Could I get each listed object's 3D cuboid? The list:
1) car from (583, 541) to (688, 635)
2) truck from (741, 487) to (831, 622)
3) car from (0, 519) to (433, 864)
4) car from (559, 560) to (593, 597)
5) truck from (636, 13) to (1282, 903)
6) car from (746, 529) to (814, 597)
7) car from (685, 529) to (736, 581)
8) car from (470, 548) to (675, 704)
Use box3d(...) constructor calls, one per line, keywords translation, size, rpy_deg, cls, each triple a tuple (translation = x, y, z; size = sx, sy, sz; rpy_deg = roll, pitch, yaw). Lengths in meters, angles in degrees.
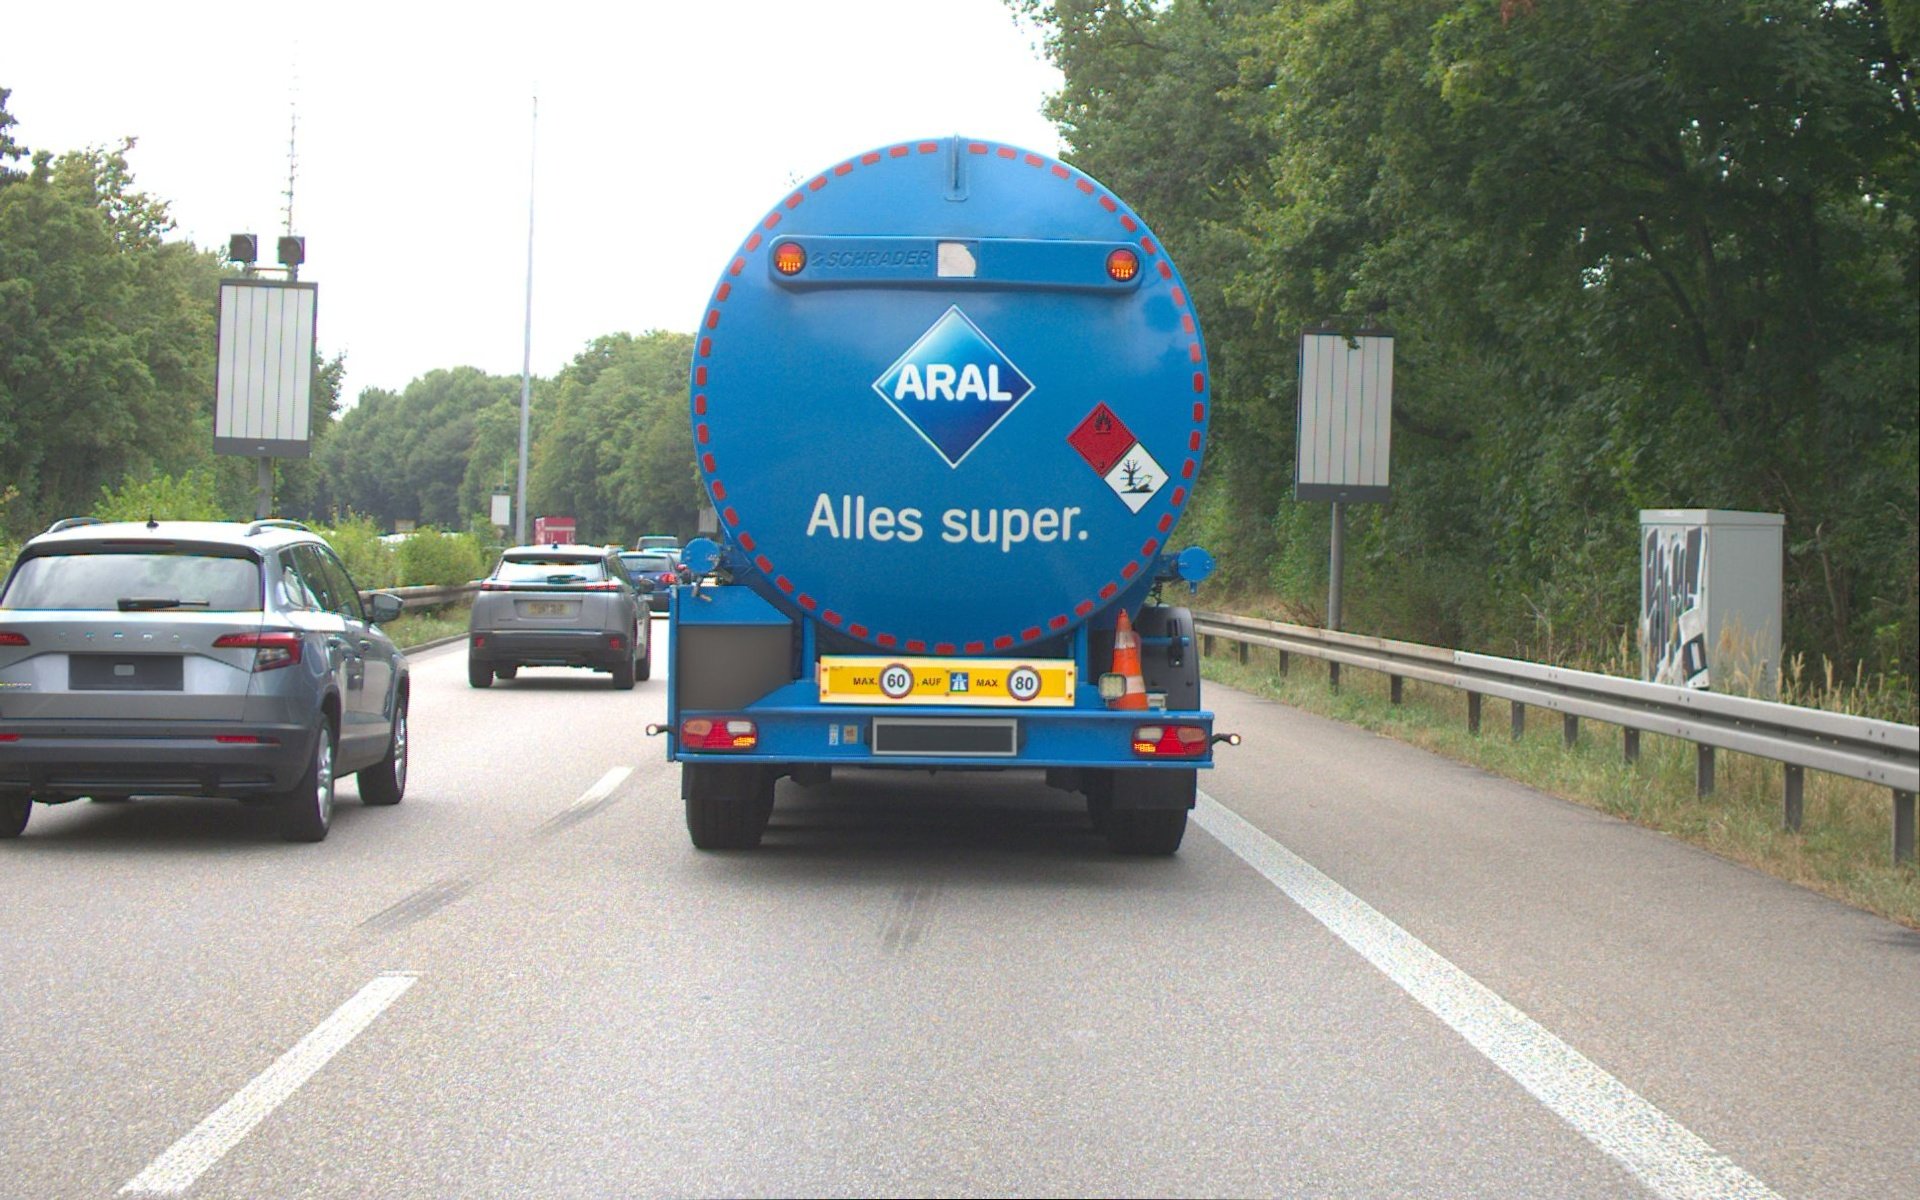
box3d(translation=(-7.193, -0.254, 76.534), size=(1.993, 2.007, 4.000), rpy_deg=(1, 0, -1), cls="car")
box3d(translation=(-4.163, -1.045, 83.437), size=(1.993, 3.082, 7.815), rpy_deg=(1, 0, -2), cls="truck")
box3d(translation=(-4.023, 0.432, 18.282), size=(1.826, 1.604, 4.167), rpy_deg=(1, 0, -1), cls="car")
box3d(translation=(-23.704, -1.313, 212.148), size=(1.993, 2.237, 4.001), rpy_deg=(1, 0, -8), cls="car")
box3d(translation=(-0.053, -0.611, 18.803), size=(2.755, 3.833, 7.688), rpy_deg=(1, 0, -1), cls="truck")
box3d(translation=(-6.111, -1.253, 117.048), size=(1.993, 2.237, 4.000), rpy_deg=(1, 0, 1), cls="car")
box3d(translation=(-11.074, -1.971, 152.955), size=(1.993, 2.237, 4.000), rpy_deg=(1, 0, -1), cls="car")
box3d(translation=(-4.230, 0.280, 38.055), size=(1.826, 1.604, 4.167), rpy_deg=(1, 0, -1), cls="car")
